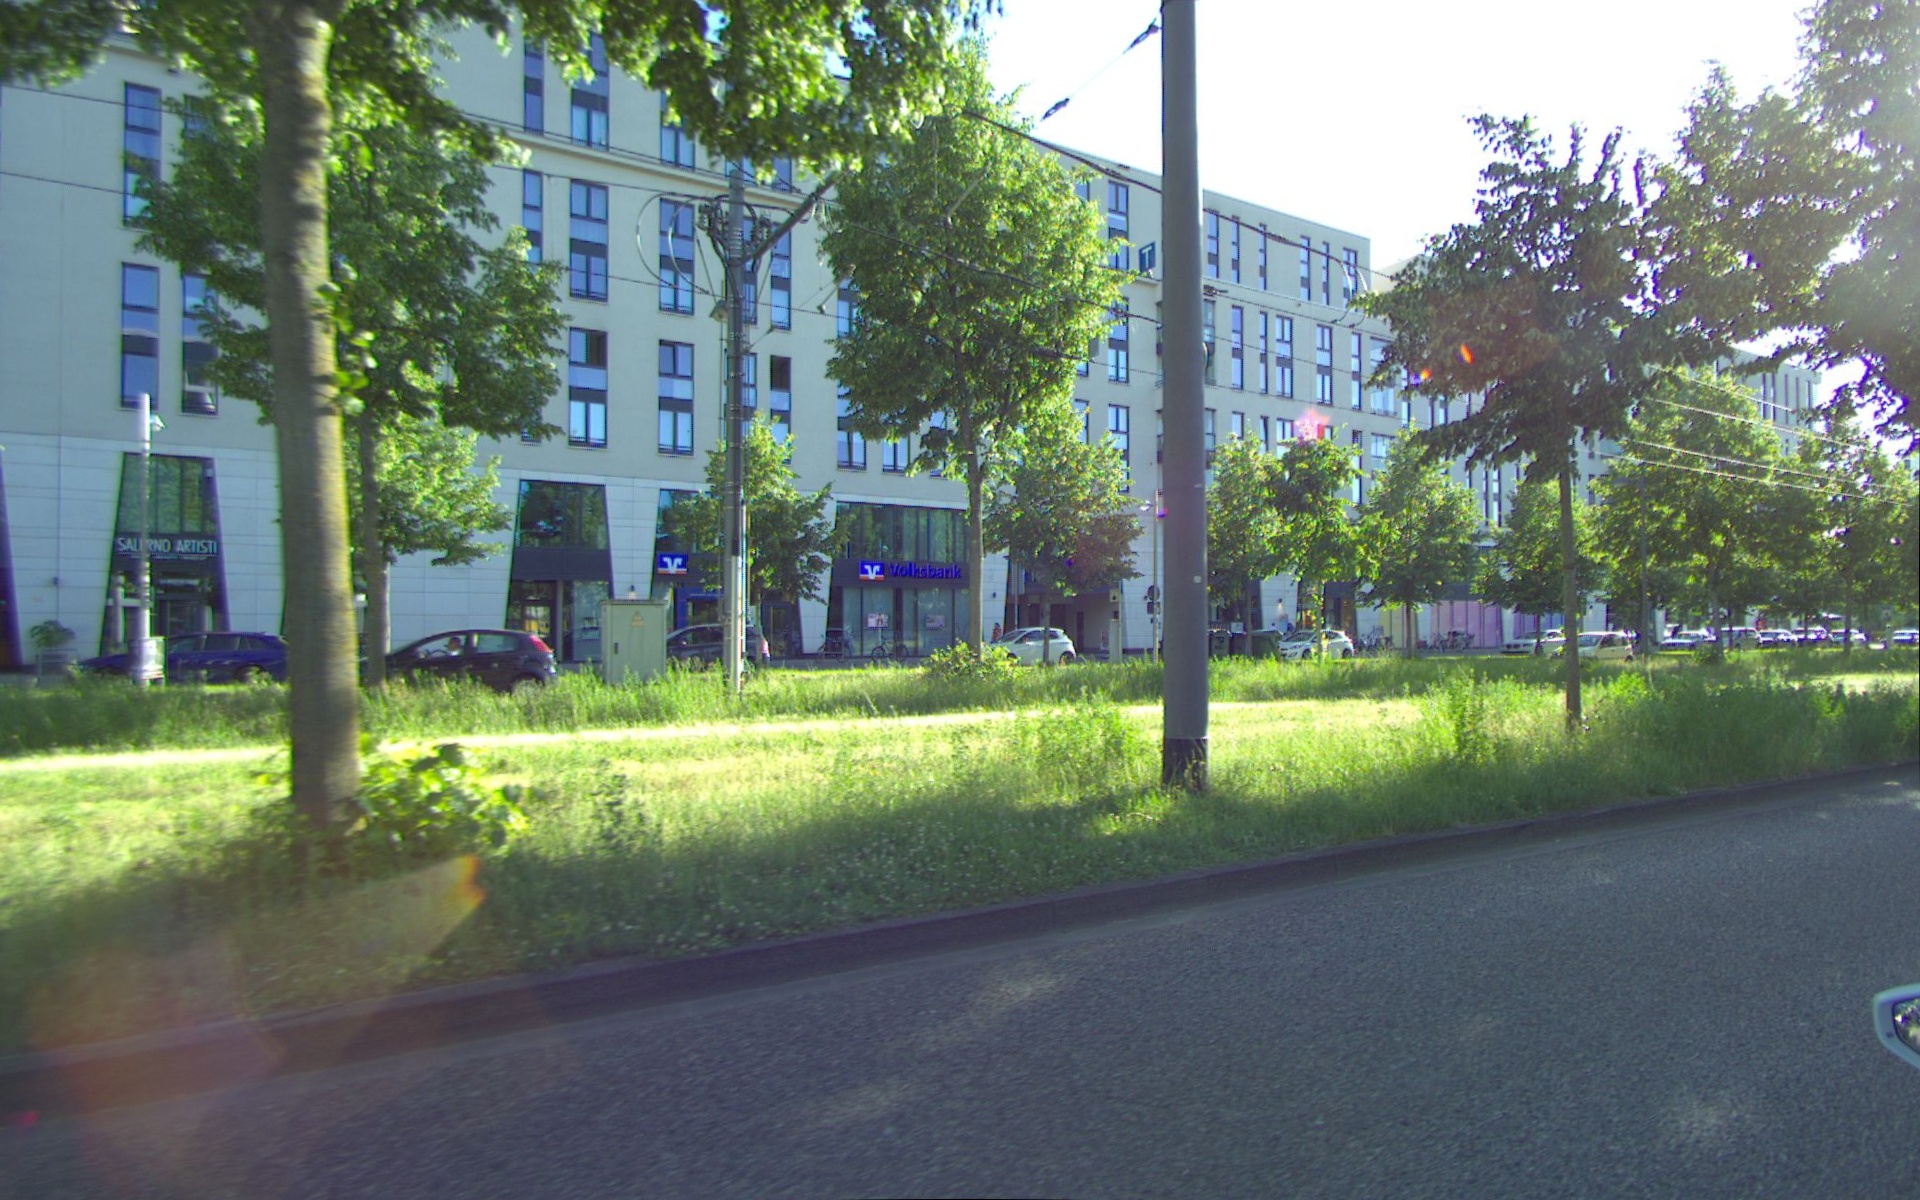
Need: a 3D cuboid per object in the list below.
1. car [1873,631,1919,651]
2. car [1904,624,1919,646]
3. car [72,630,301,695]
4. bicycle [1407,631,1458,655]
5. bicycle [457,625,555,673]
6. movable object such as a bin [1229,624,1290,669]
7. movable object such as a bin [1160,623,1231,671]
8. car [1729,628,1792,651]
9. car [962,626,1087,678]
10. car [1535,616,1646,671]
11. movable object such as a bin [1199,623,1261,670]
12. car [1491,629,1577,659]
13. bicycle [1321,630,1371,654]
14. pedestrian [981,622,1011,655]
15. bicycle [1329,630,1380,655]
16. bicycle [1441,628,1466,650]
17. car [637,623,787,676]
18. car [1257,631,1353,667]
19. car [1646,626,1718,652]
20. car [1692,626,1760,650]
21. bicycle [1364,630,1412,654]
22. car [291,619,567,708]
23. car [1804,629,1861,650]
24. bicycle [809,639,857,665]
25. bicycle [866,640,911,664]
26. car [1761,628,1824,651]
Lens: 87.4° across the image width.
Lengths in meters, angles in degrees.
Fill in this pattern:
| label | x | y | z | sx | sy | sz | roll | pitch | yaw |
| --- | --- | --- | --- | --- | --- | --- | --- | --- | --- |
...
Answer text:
| label | x | y | z | sx | sy | sz | roll | pitch | yaw |
| --- | --- | --- | --- | --- | --- | --- | --- | --- | --- |
| car | 74.006 | 3.192 | 79.031 | 4.214 | 1.460 | 1.949 | 1 | 0 | -30 |
| car | 79.682 | 2.909 | 82.544 | 4.724 | 1.795 | 1.982 | 1 | 0 | -32 |
| car | -18.722 | 1.469 | 24.591 | 4.291 | 1.432 | 1.713 | 1 | -2 | -34 |
| bicycle | 28.571 | 2.574 | 60.753 | 2.723 | 1.298 | 0.948 | 1 | 0 | 32 |
| bicycle | -15.517 | 1.673 | 34.392 | 2.996 | 1.566 | 0.615 | 1 | 0 | -28 |
| movable object such as a bin | 12.750 | 1.951 | 42.771 | 1.538 | 1.818 | 1.960 | 1 | 0 | -31 |
| movable object such as a bin | 9.539 | 1.865 | 40.702 | 1.988 | 1.818 | 1.959 | 1 | 0 | -32 |
| car | 53.790 | 2.636 | 67.446 | 4.407 | 1.460 | 1.982 | 1 | 0 | -32 |
| car | 2.398 | 1.888 | 37.257 | 4.291 | 1.752 | 1.982 | 1 | 0 | -32 |
| car | 24.990 | 1.706 | 39.834 | 3.949 | 2.040 | 1.986 | 1 | 0 | -27 |
| movable object such as a bin | 11.230 | 1.910 | 41.841 | 1.538 | 1.818 | 1.960 | 1 | 0 | -31 |
| car | 30.892 | 2.341 | 54.008 | 4.871 | 1.460 | 1.982 | 1 | 0 | -32 |
| bicycle | 21.976 | 2.379 | 57.193 | 2.732 | 1.298 | 0.945 | 1 | 0 | -23 |
| pedestrian | 1.698 | 1.778 | 46.920 | 1.018 | 1.487 | 0.939 | 1 | 0 | -39 |
| bicycle | 21.997 | 2.376 | 55.986 | 2.732 | 1.298 | 0.945 | 1 | 0 | -23 |
| bicycle | 30.287 | 2.378 | 61.642 | 1.590 | 1.298 | 0.594 | 1 | 0 | -32 |
| car | -7.581 | 1.472 | 30.773 | 4.217 | 1.499 | 1.552 | 1 | 0 | -28 |
| car | 15.318 | 2.159 | 44.586 | 3.975 | 1.460 | 1.982 | 1 | 0 | -32 |
| car | 44.527 | 2.396 | 61.946 | 4.727 | 1.460 | 1.982 | 1 | 0 | -32 |
| car | 49.290 | 2.455 | 64.626 | 4.404 | 1.460 | 1.984 | 1 | 0 | -30 |
| bicycle | 25.065 | 2.460 | 58.779 | 2.732 | 1.298 | 0.945 | 1 | 0 | -23 |
| car | -9.961 | 1.140 | 19.013 | 4.408 | 1.460 | 1.982 | 1 | 0 | -33 |
| car | 64.367 | 2.883 | 74.069 | 4.407 | 1.460 | 1.982 | 1 | 0 | -32 |
| bicycle | -5.185 | 2.106 | 40.914 | 1.823 | 1.002 | 0.616 | 1 | 0 | -25 |
| bicycle | -2.987 | 2.169 | 42.070 | 1.825 | 0.966 | 0.577 | 1 | 0 | -28 |
| car | 58.576 | 2.764 | 70.638 | 4.883 | 1.460 | 1.982 | 1 | 0 | -32 |
